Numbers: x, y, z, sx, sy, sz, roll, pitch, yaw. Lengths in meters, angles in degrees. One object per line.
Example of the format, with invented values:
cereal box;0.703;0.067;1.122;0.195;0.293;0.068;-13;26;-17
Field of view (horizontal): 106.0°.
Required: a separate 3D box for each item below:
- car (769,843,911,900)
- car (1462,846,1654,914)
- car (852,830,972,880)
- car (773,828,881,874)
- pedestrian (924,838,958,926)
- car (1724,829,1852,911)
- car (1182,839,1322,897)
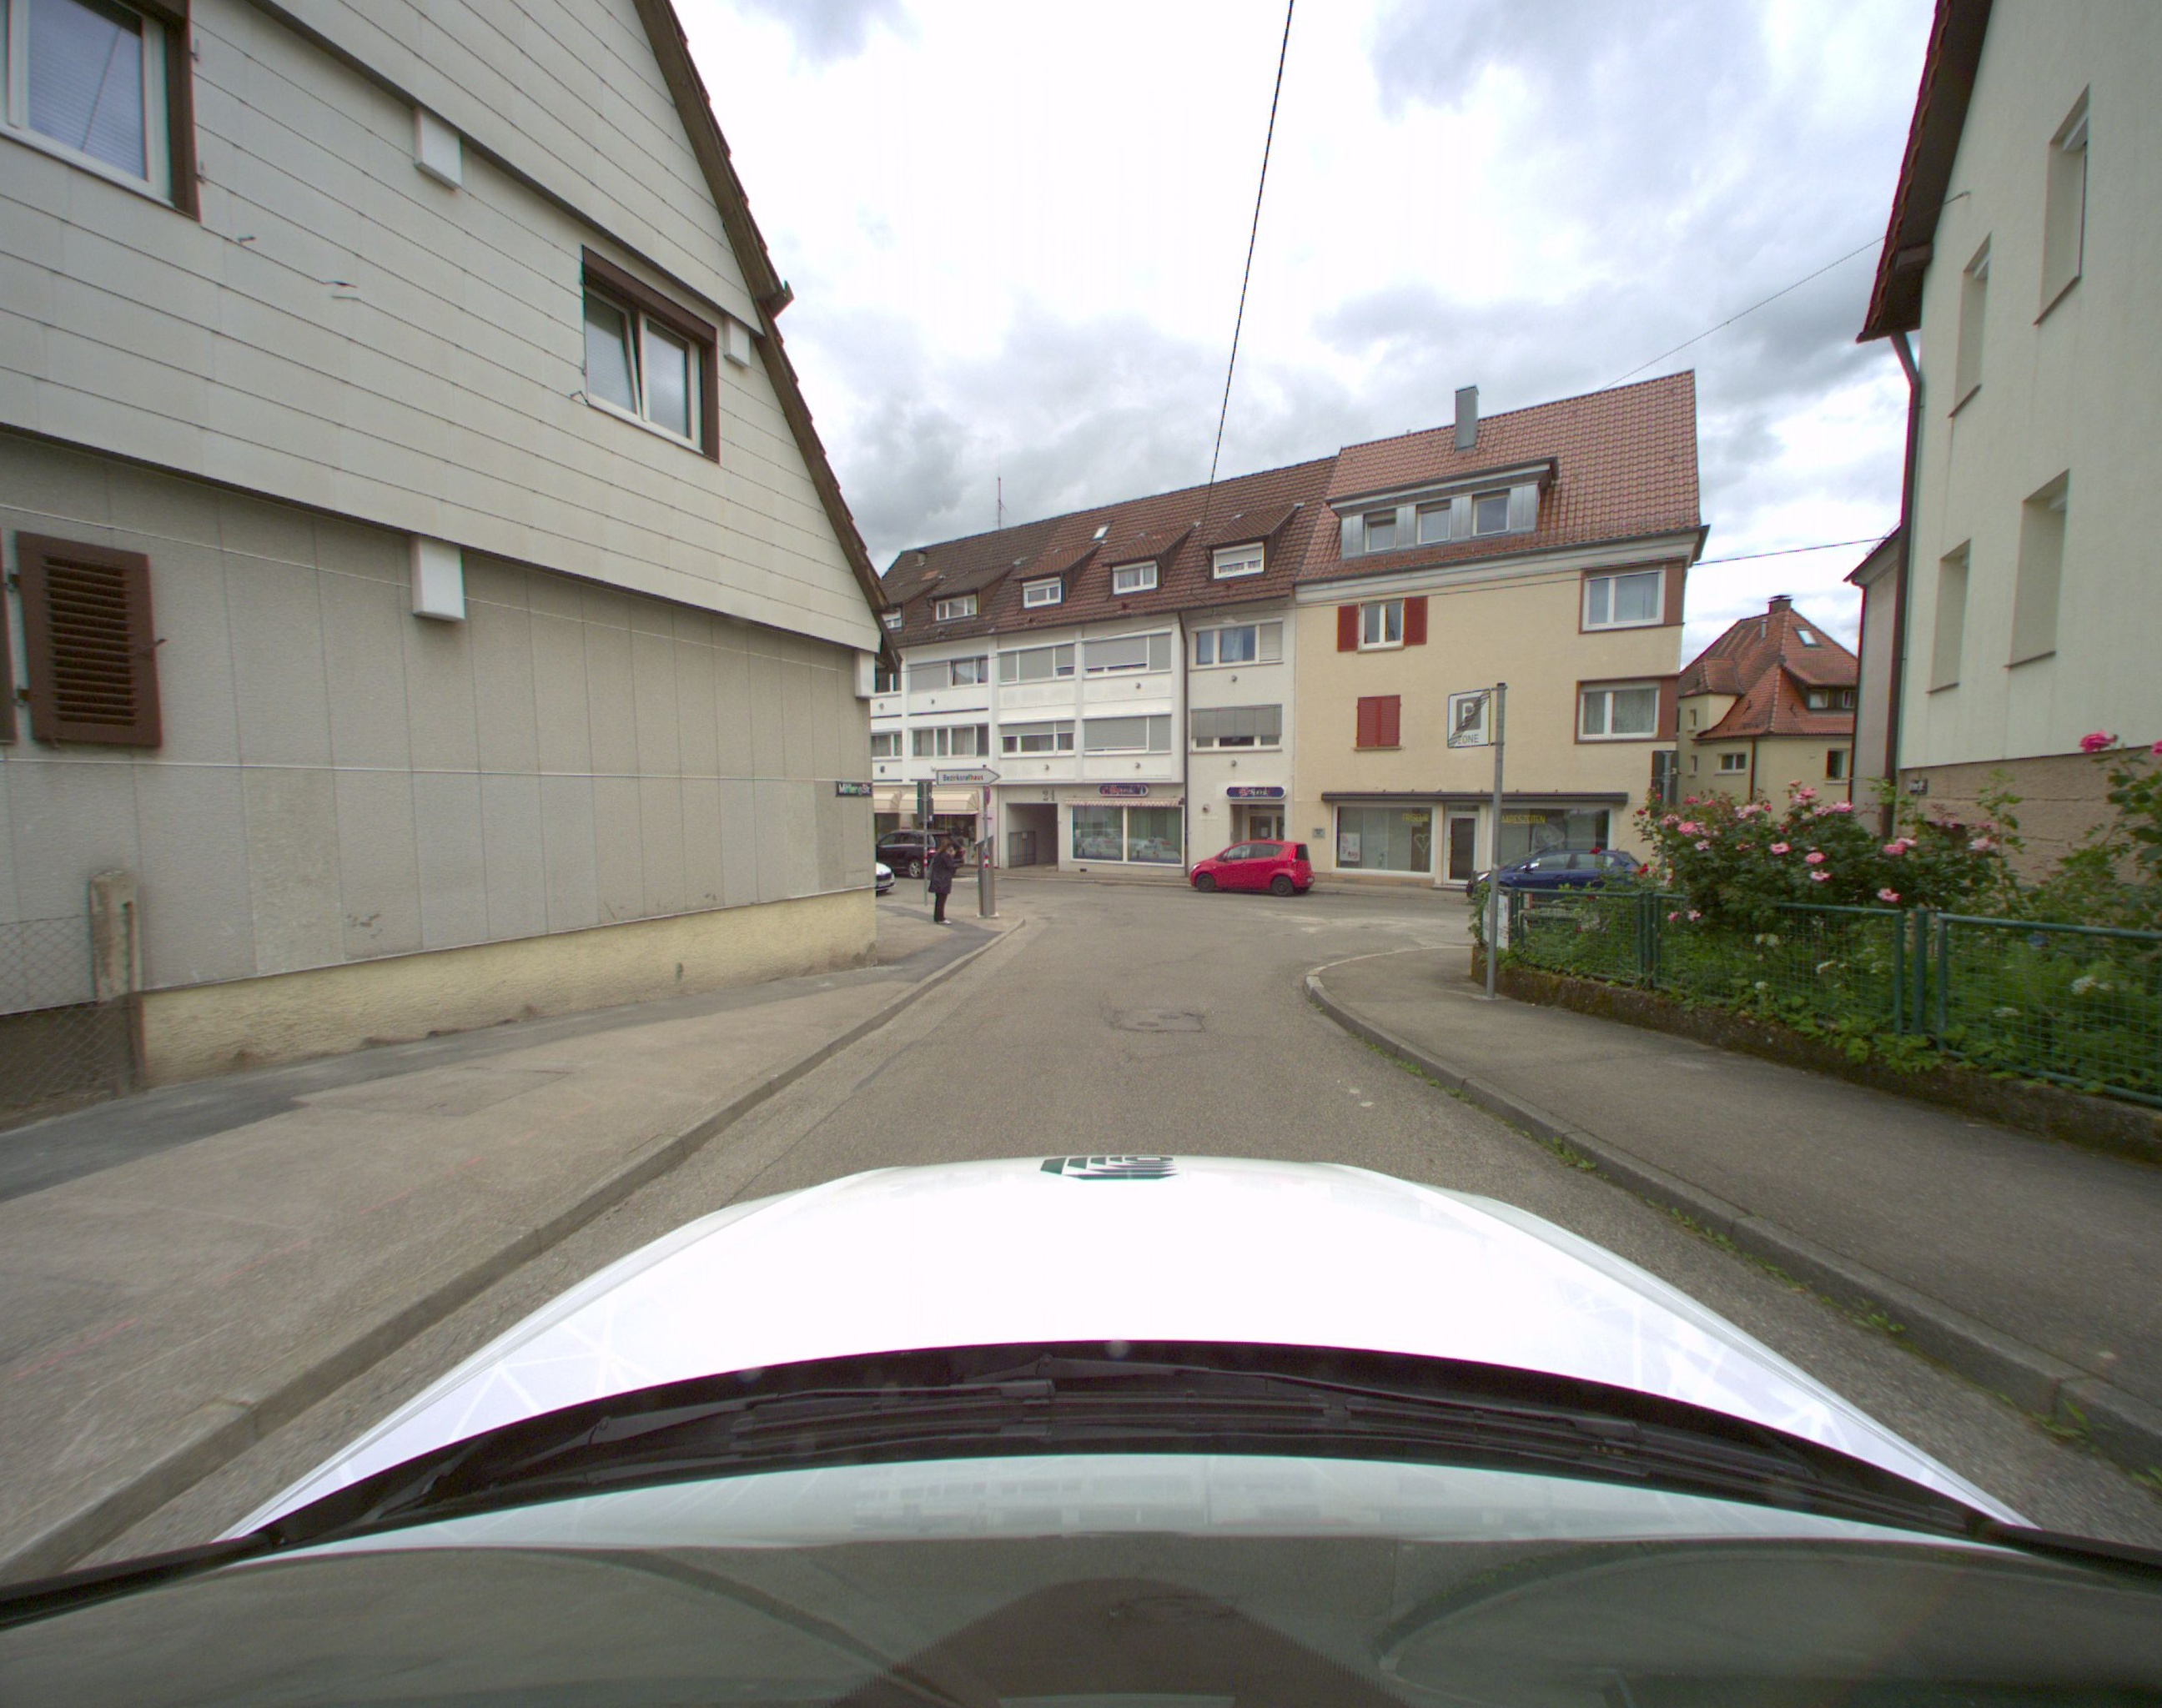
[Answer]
car;-7.580;0.483;25.519;4.241;1.460;1.811;1;6;31
car;11.525;0.563;19.792;3.870;1.450;1.708;2;1;34
car;-6.454;-0.021;31.039;4.312;1.779;1.960;1;2;33
car;-10.615;-0.181;33.985;4.321;1.711;1.953;2;4;32
pedestrian;-2.743;0.529;16.012;0.646;1.684;0.602;0;1;-9
car;18.150;0.351;21.148;1.928;1.866;4.933;1;0;34
car;5.008;0.356;23.996;3.648;1.556;1.708;2;2;34
